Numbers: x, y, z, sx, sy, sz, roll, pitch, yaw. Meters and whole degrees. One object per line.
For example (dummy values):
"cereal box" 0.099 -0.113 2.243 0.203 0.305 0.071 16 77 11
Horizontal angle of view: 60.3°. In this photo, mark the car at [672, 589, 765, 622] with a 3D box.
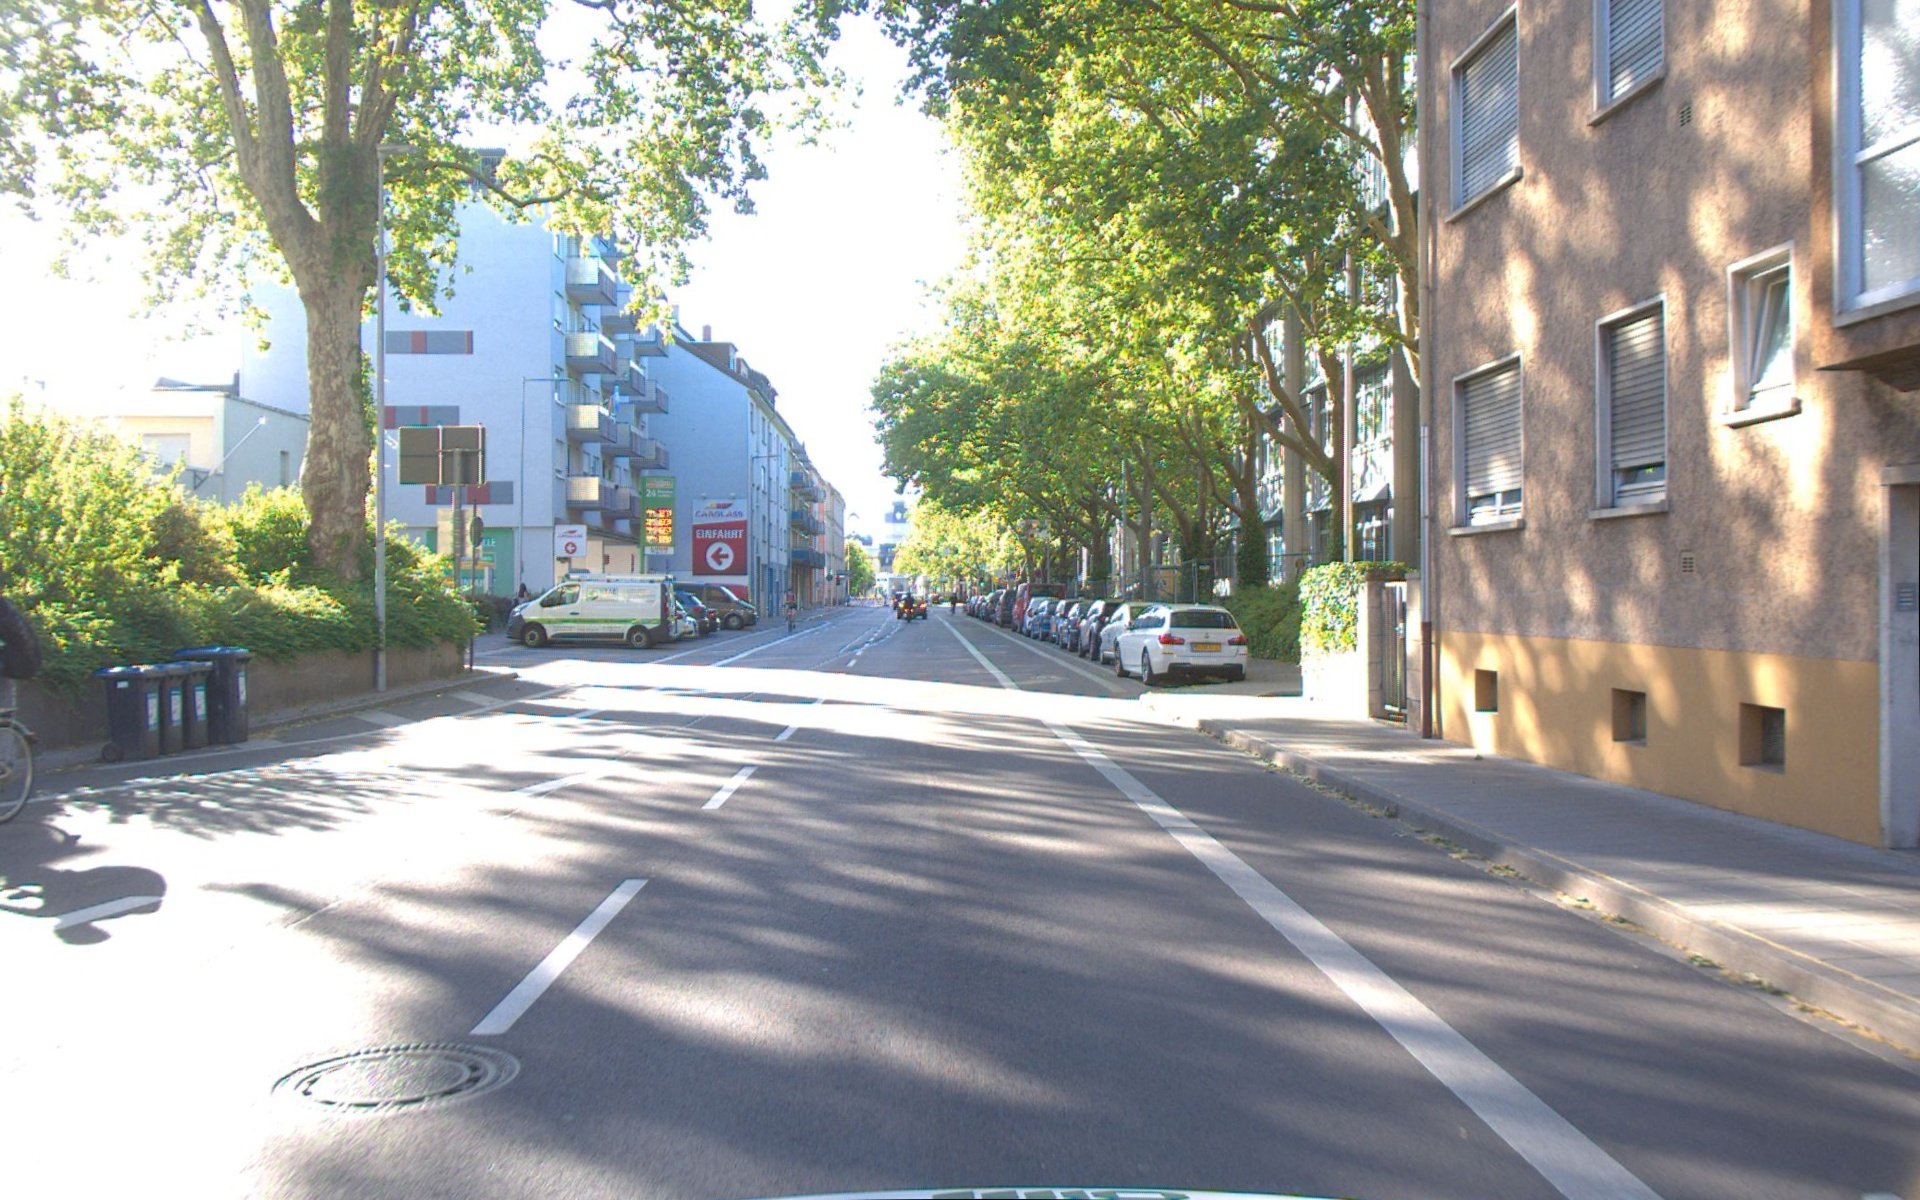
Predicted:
"car" -11.565 0.254 79.402 4.143 1.404 2.045 2 0 -2

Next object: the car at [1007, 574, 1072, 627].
"car" 3.230 0.015 68.101 2.037 2.029 5.167 2 0 -4

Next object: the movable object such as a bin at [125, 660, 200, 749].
"movable object such as a bin" -8.490 1.105 17.619 0.530 0.917 0.559 0 0 -2

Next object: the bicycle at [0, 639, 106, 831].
"bicycle" -6.628 0.905 11.037 0.714 1.221 2.178 -1 0 0

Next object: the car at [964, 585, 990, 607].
"car" 1.164 -0.270 116.315 1.658 1.492 4.064 2 0 -1

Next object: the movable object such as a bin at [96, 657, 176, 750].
"movable object such as a bin" -8.472 1.060 17.027 0.530 0.917 0.604 0 0 -2

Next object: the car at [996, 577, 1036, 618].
"car" 2.660 -0.136 79.231 1.658 1.844 4.129 2 0 -1

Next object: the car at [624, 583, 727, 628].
"car" -10.835 0.210 63.161 3.611 1.539 1.830 2 0 -2

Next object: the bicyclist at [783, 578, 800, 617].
"bicyclist" -6.896 -0.099 67.618 0.594 1.571 0.933 -2 1 -2

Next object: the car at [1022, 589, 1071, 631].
"car" 3.288 0.352 63.191 1.604 1.511 3.759 2 0 0

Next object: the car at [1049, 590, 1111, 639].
"car" 3.925 0.448 54.454 1.581 1.501 3.491 2 0 -3

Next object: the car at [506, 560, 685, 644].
"car" -10.691 0.052 48.780 4.747 2.255 2.139 2 0 -2

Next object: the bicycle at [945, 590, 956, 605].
"bicycle" -0.685 -0.167 118.147 0.643 1.089 1.926 2 0 -2

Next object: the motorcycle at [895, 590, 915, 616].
"motorcycle" -2.895 0.132 86.943 0.992 1.329 2.671 0 0 -3

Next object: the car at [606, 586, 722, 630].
"car" -10.810 0.280 60.681 3.907 1.481 1.915 1 0 -2

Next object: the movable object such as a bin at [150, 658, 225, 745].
"movable object such as a bin" -8.511 1.113 18.236 0.530 0.917 0.644 0 0 -2

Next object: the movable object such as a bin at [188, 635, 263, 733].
"movable object such as a bin" -8.391 0.952 18.909 0.582 1.090 0.644 0 0 -2

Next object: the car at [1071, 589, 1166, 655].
"car" 4.008 0.529 42.556 1.818 1.549 4.295 2 0 -3

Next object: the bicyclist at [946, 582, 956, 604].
"bicyclist" -0.676 -0.517 118.111 0.643 1.557 0.851 2 -1 -3

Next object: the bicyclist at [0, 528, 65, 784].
"bicyclist" -6.631 0.367 11.005 0.714 1.670 1.167 0 0 0

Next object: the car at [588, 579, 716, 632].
"car" -10.784 0.180 58.114 4.110 1.713 2.027 1 0 -2

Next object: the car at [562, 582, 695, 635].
"car" -10.657 0.265 53.392 3.907 1.586 1.852 1 1 -2

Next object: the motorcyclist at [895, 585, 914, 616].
"motorcyclist" -2.906 0.032 87.098 0.992 1.630 1.405 0 0 -3

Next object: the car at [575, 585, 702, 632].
"car" -10.764 0.263 55.516 3.907 1.458 1.852 1 0 -2

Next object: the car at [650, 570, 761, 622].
"car" -10.910 -0.175 71.206 4.431 1.985 2.056 3 0 -2

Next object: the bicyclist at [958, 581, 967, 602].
"bicyclist" 0.184 -0.636 125.858 0.643 1.557 0.906 2 -1 -3

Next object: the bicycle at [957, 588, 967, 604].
"bicycle" 0.177 -0.303 125.907 0.643 1.131 2.184 2 0 -2

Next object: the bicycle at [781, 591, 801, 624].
"bicycle" -6.869 0.292 67.291 0.594 1.261 2.049 -2 1 -2

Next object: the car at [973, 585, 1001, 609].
"car" 1.792 -0.227 110.678 1.659 1.505 4.317 2 0 -2

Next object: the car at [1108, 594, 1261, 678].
"car" 4.170 0.625 31.536 1.819 1.462 4.965 1 0 -5

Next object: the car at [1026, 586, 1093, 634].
"car" 3.509 0.331 58.875 1.819 1.537 3.926 3 0 -5

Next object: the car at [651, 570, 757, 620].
"car" -11.418 -0.232 74.030 4.332 1.985 2.145 3 0 -2

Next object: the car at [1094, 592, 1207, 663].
"car" 4.271 0.577 37.686 1.818 1.462 4.600 1 0 -3

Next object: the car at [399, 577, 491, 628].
"car" -16.321 0.072 52.615 1.754 1.489 3.999 2 0 -2

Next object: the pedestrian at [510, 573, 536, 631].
"pedestrian" -13.788 0.063 52.173 0.618 1.820 0.722 0 0 -2

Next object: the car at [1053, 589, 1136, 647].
"car" 3.875 0.484 48.414 1.818 1.549 4.597 2 0 -3

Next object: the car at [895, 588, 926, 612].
"car" -3.017 -0.004 100.662 1.792 1.445 3.813 1 0 -3

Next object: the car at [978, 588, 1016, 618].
"car" 2.122 0.149 96.119 1.740 1.656 4.617 2 0 -3
